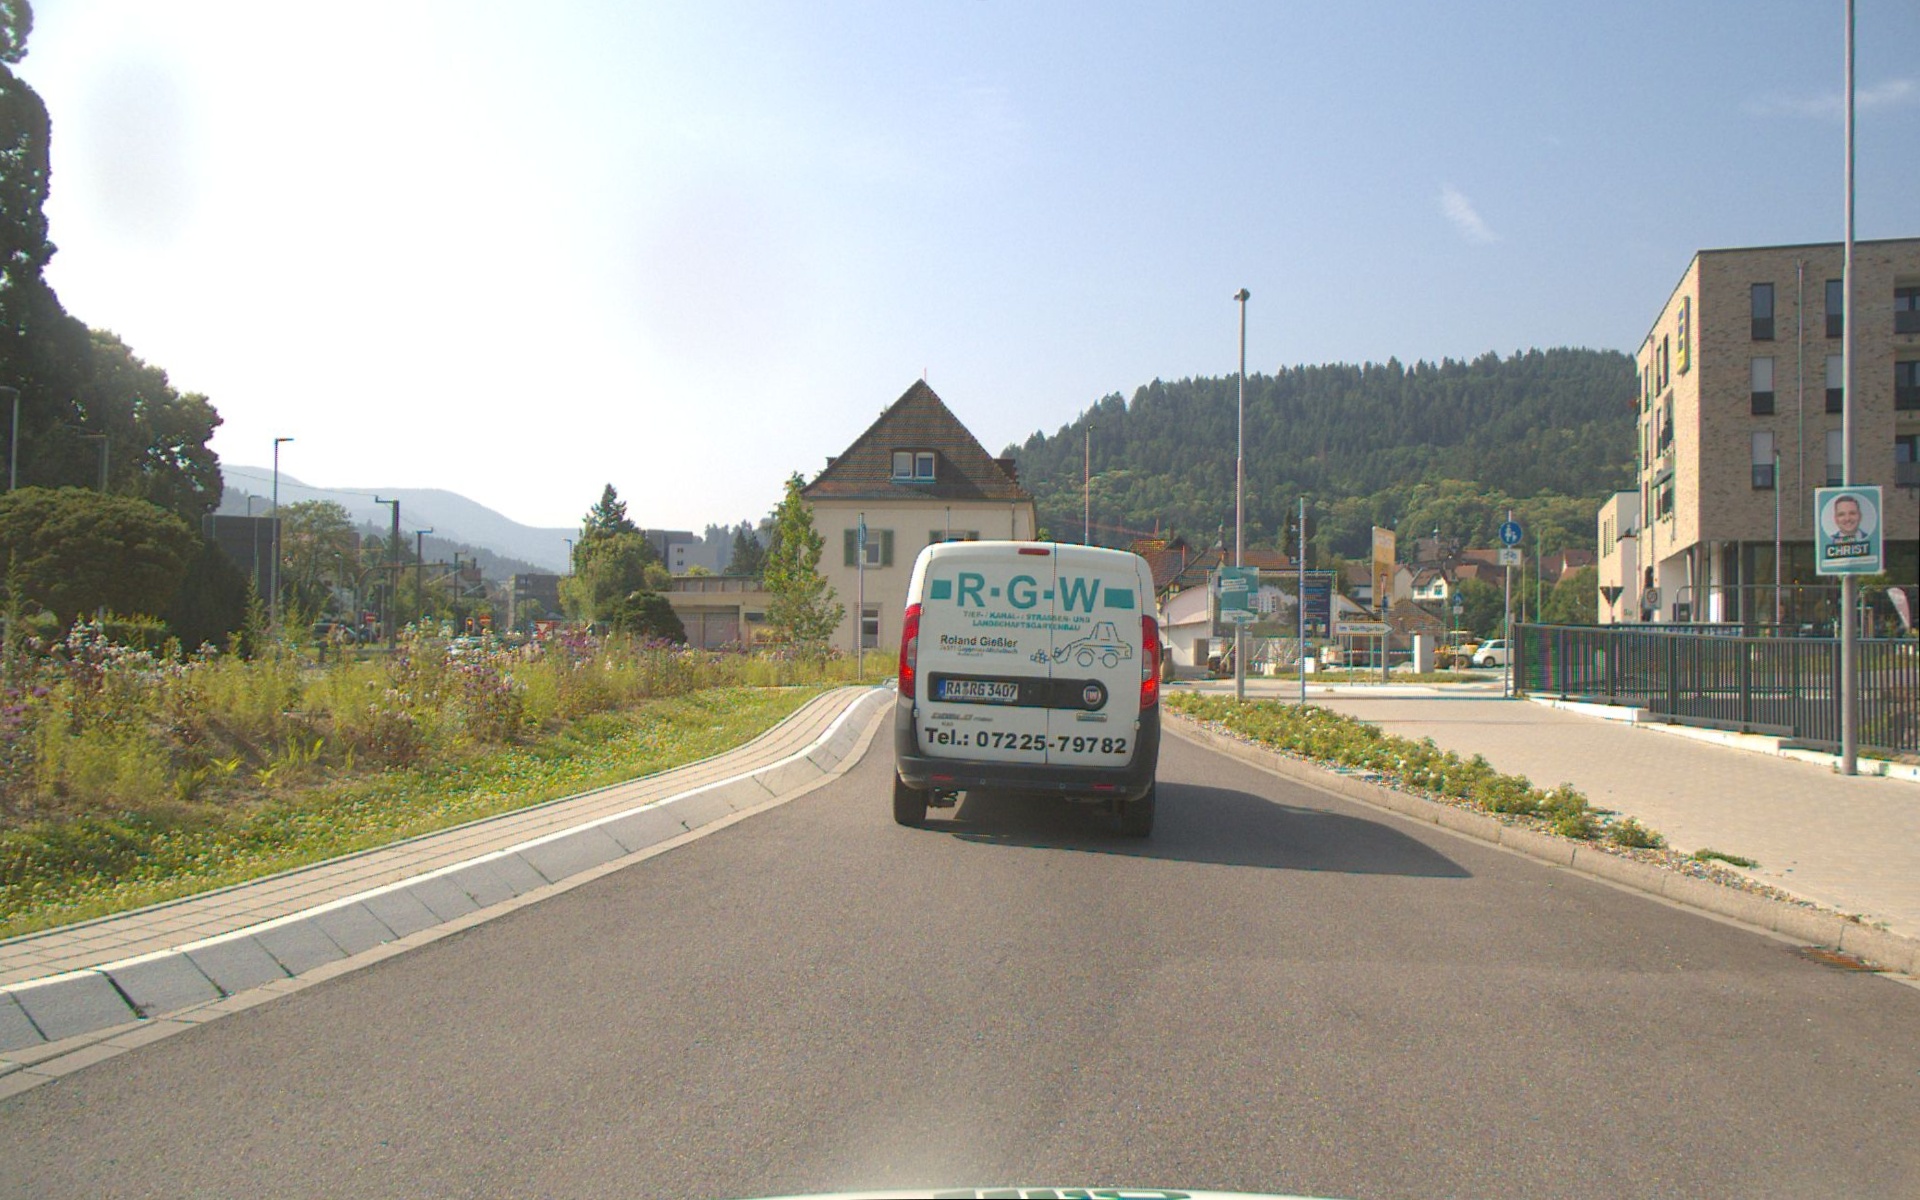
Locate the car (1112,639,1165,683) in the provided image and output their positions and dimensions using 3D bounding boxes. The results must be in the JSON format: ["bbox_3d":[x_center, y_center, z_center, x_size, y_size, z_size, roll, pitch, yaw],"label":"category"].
[{"bbox_3d":[7.156,2.452,66.111,1.841,1.714,4.003,0,-2,10],"label":"car"}]

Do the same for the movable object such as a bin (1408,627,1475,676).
[{"bbox_3d":[18.776,2.012,64.542,2.391,1.876,1.429,0,-2,12],"label":"movable object such as a bin"}]

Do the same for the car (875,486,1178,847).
[{"bbox_3d":[0.613,0.423,12.382,1.768,2.114,4.607,2,-1,5],"label":"car"}]

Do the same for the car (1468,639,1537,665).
[{"bbox_3d":[29.798,2.850,90.916,3.401,1.326,1.469,1,-1,5],"label":"car"}]

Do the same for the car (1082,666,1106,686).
[{"bbox_3d":[7.176,4.065,88.538,1.278,1.021,3.092,0,-2,4],"label":"car"}]

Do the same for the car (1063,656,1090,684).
[{"bbox_3d":[8.807,5.271,124.947,1.951,2.049,4.002,0,-2,5],"label":"car"}]

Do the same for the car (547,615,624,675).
[{"bbox_3d":[-13.345,1.586,59.176,1.772,2.049,4.000,0,-1,1],"label":"car"}]
